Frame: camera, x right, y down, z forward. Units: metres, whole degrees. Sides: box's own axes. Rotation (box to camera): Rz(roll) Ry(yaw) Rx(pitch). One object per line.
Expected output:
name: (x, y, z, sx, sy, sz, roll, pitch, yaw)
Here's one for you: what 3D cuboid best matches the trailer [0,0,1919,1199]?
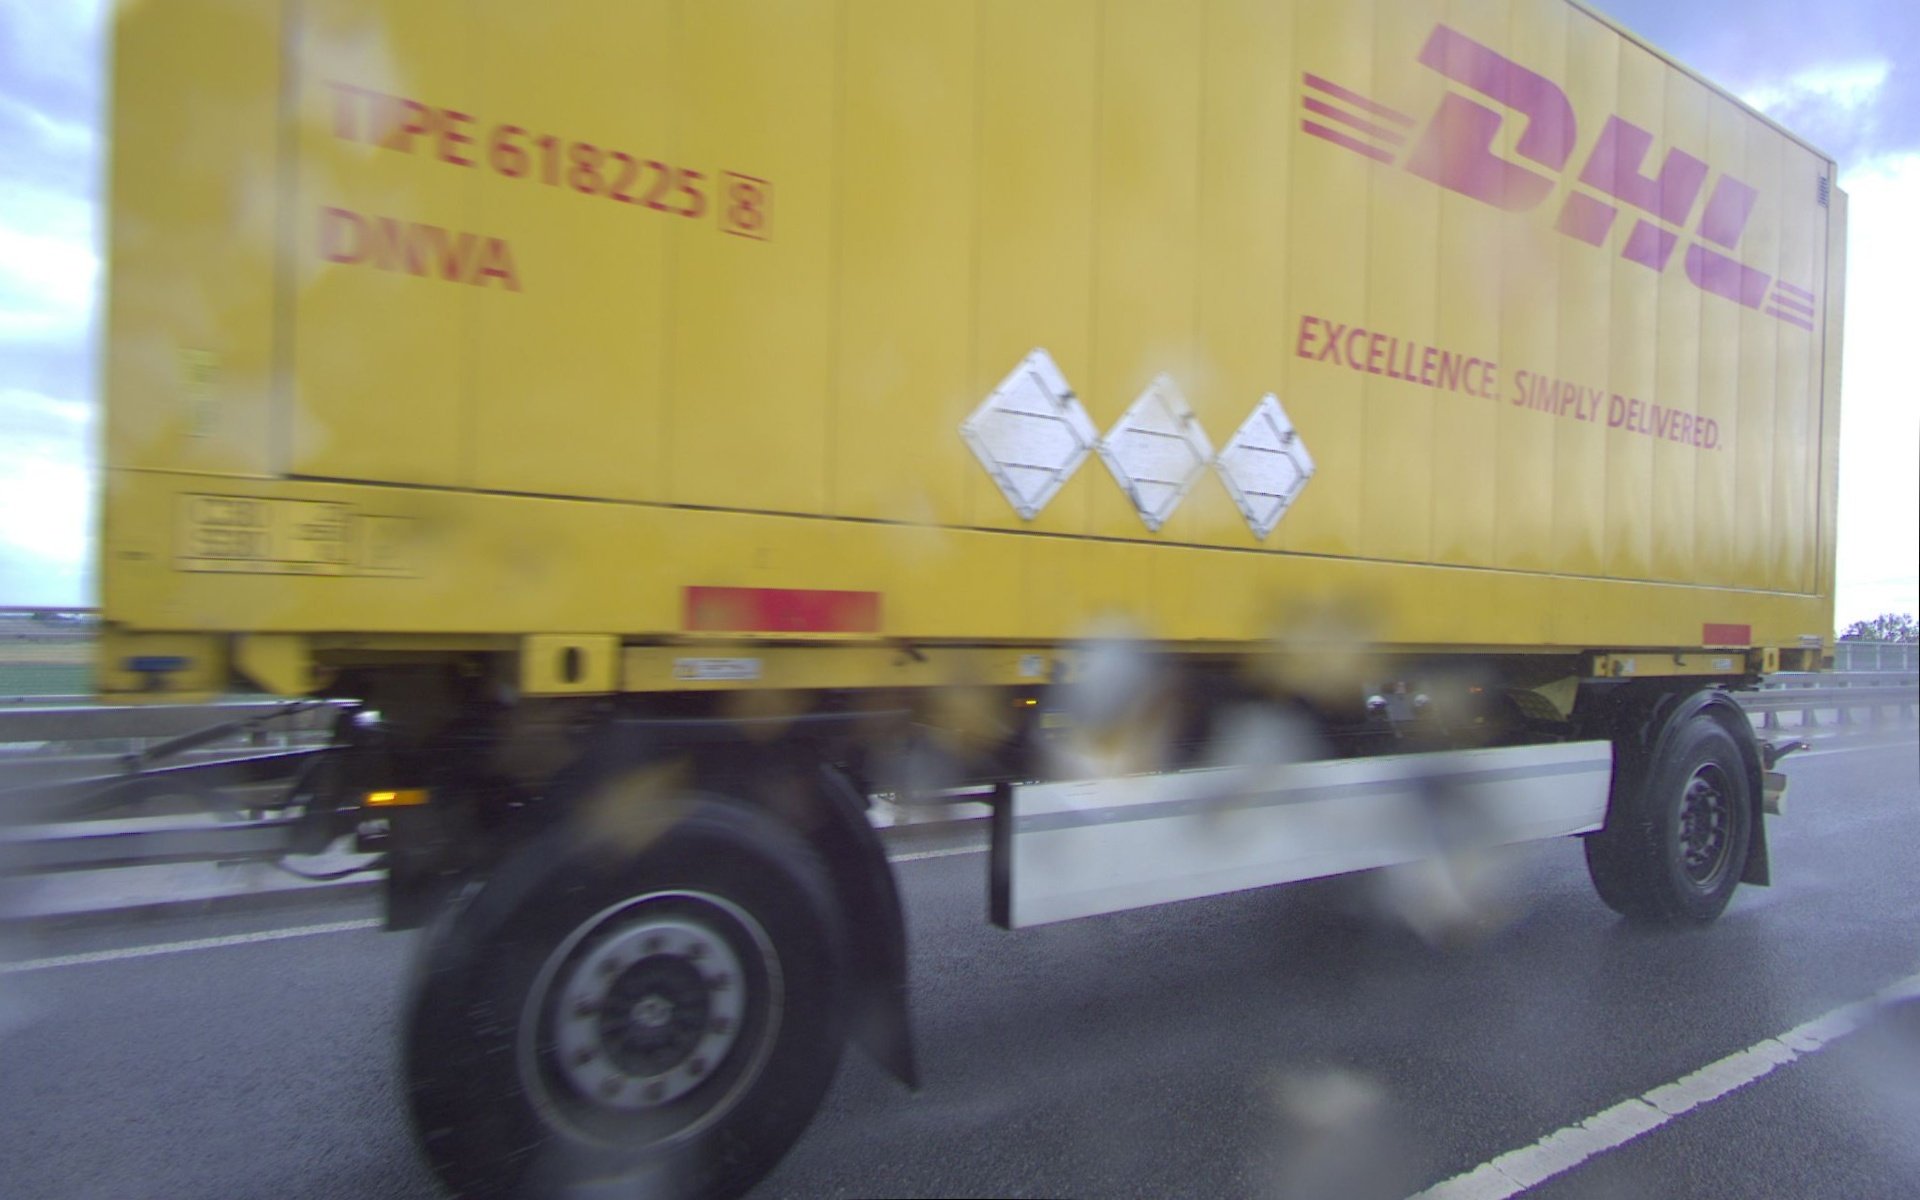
trailer: (1.250, -0.555, 4.764, 8.385, 4.129, 2.670, 2, 0, -30)
